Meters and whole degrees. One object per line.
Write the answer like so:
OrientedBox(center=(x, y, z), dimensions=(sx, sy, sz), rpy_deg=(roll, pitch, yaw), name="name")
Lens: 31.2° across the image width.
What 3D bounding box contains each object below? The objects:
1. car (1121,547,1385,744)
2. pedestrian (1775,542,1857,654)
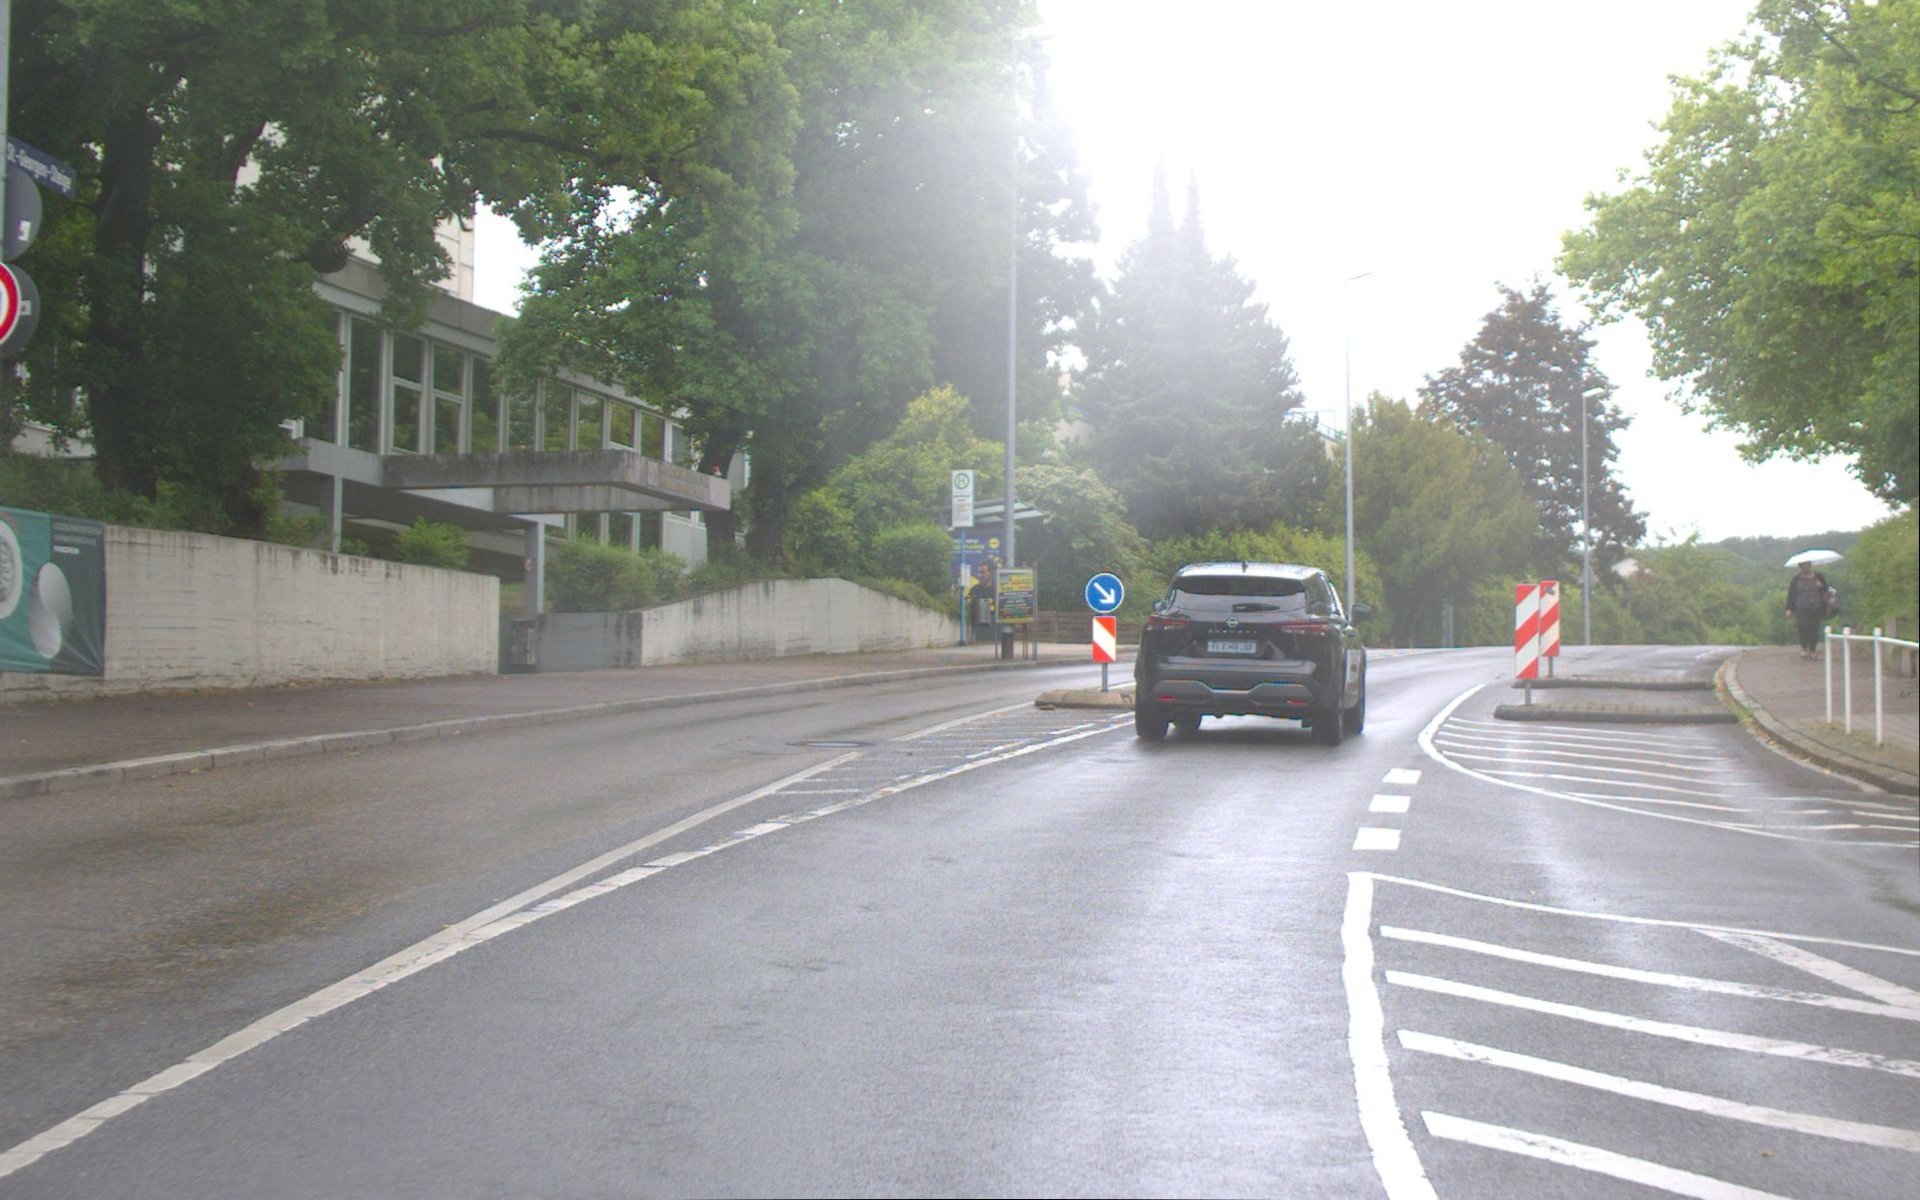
OrientedBox(center=(2.741, 0.359, 31.366), dimensions=(1.929, 1.607, 3.998), rpy_deg=(2, 1, 11), name="car")
OrientedBox(center=(13.445, -0.032, 54.002), dimensions=(1.084, 1.716, 1.166), rpy_deg=(-2, 0, 8), name="pedestrian")
